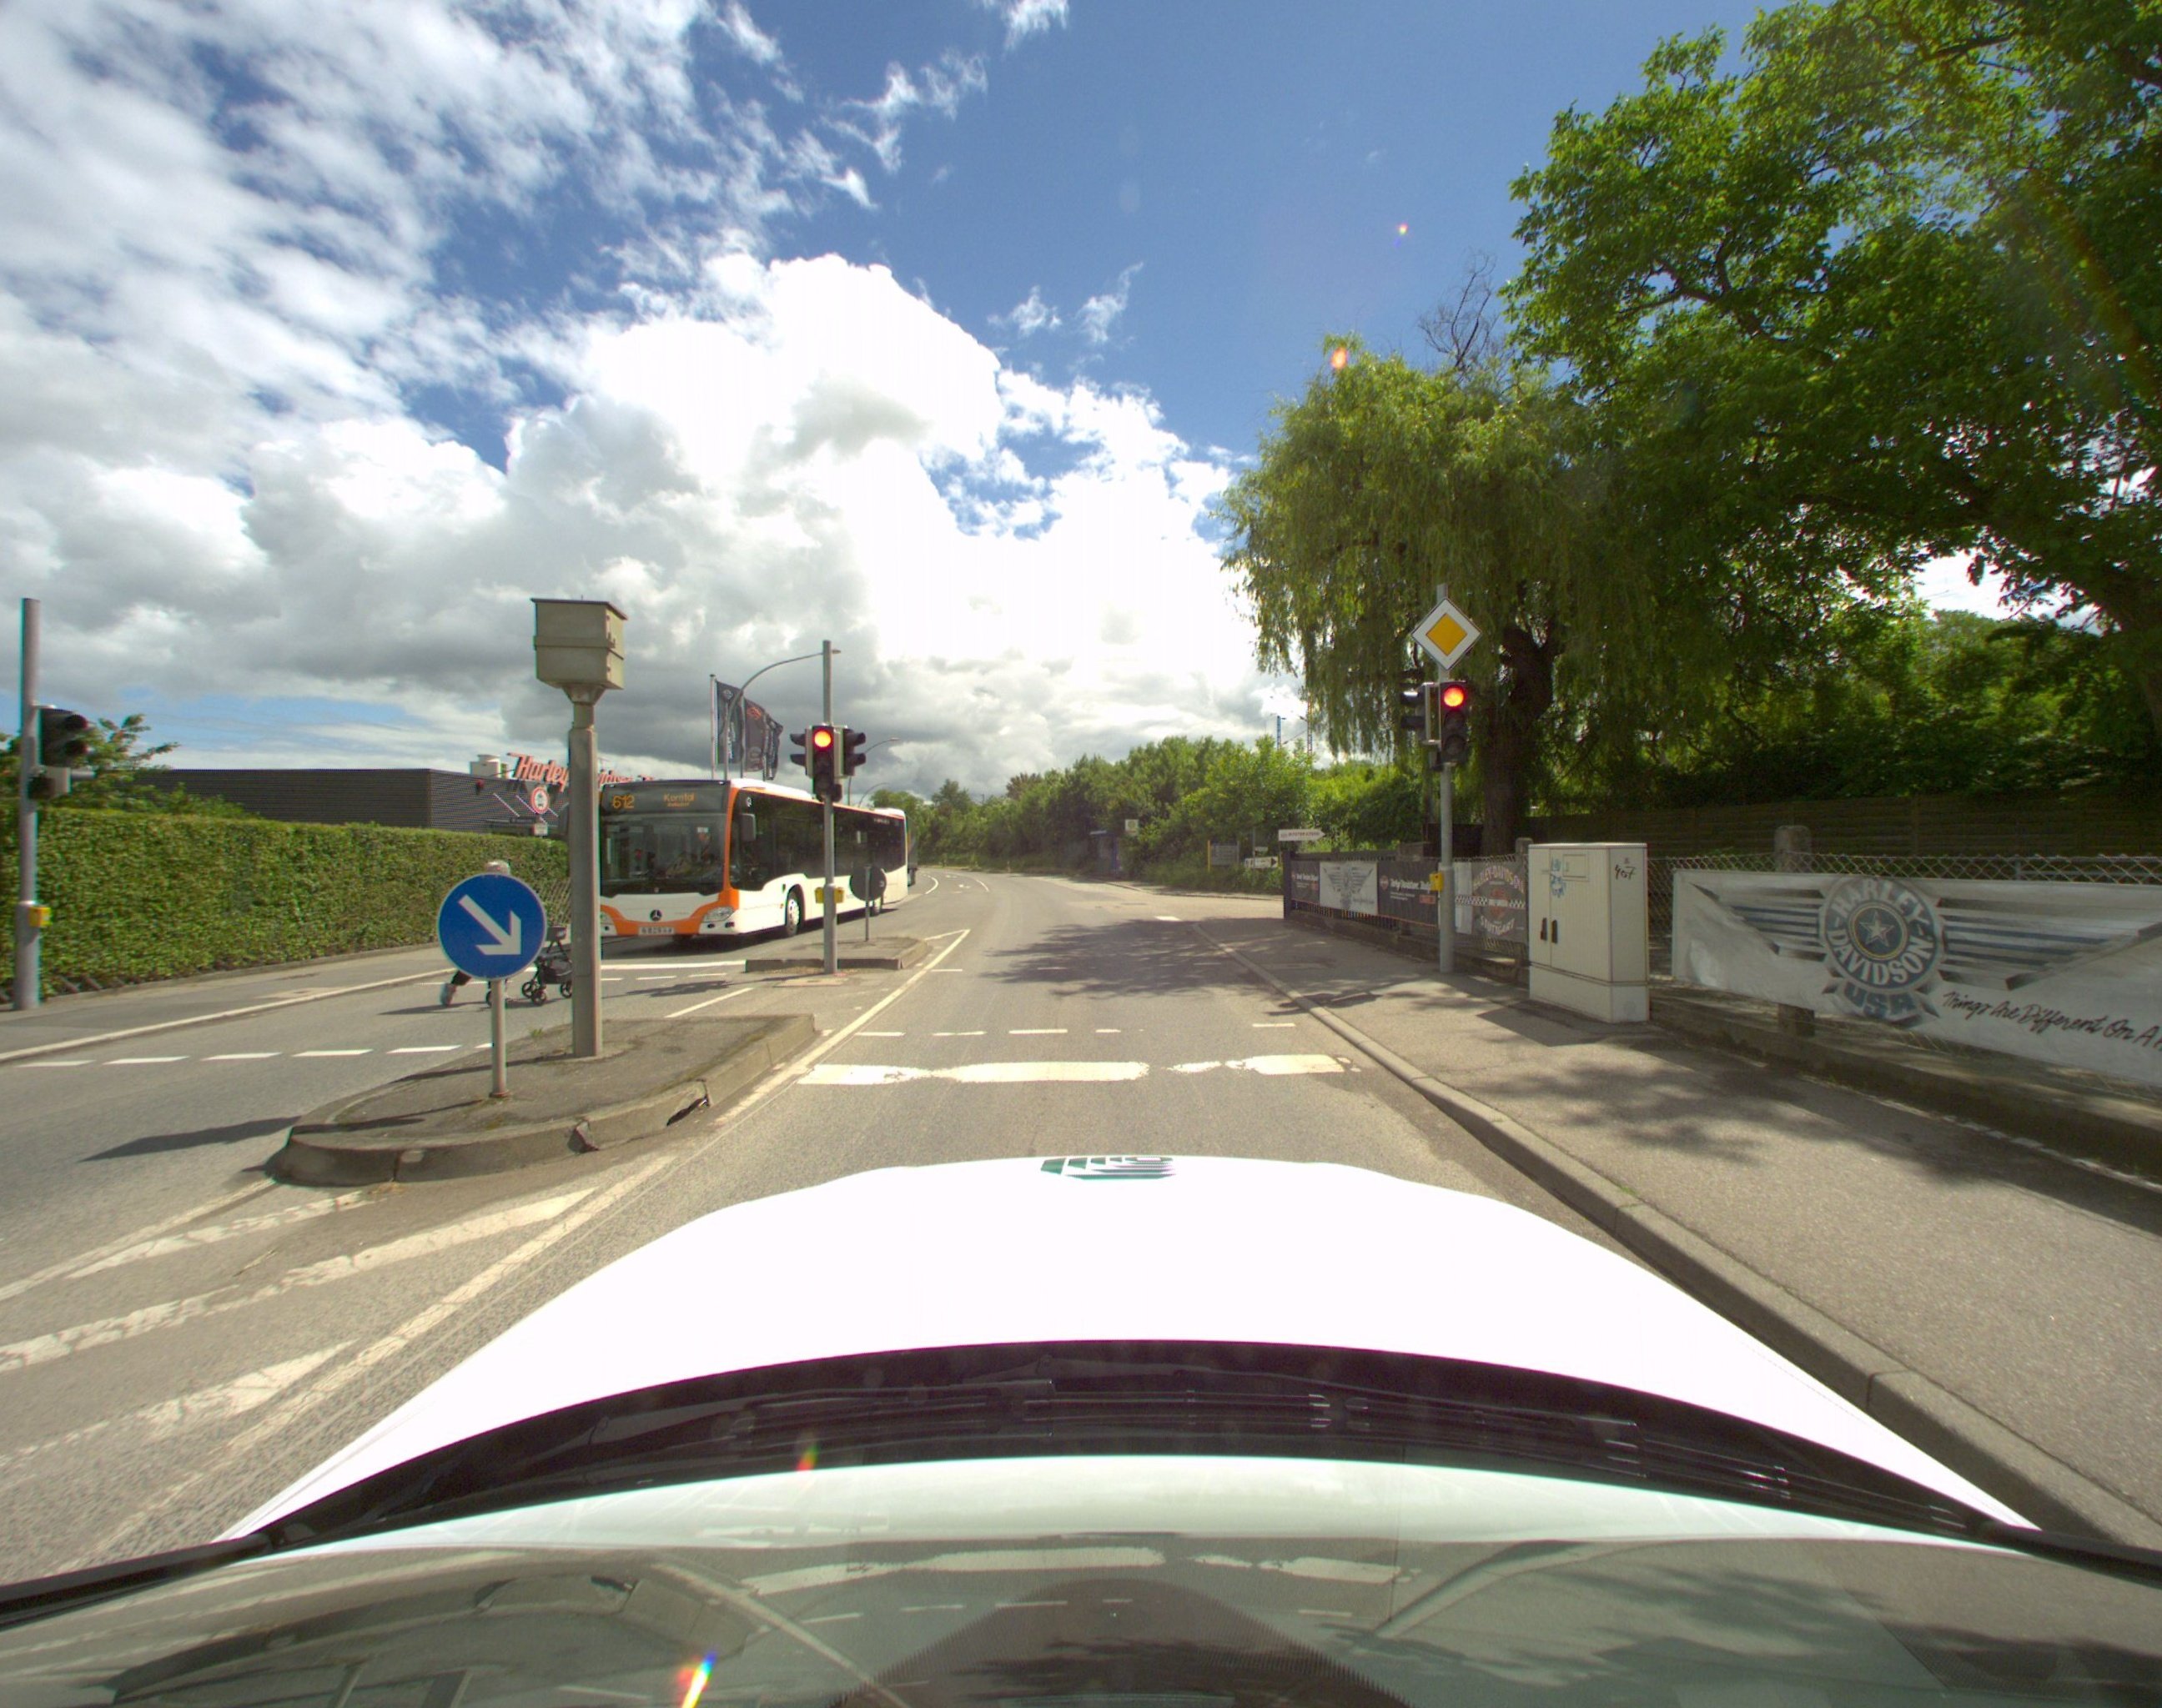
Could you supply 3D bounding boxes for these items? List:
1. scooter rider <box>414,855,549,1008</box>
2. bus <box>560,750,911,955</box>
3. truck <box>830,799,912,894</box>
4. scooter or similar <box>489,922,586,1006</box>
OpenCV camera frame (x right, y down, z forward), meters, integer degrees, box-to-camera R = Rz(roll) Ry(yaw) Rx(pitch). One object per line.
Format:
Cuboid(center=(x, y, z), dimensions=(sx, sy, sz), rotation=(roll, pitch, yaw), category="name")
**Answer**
Cuboid(center=(-6.535, 0.811, 8.924), dimensions=(0.875, 1.589, 0.796), rotation=(-1, 0, 0), category="scooter rider")
Cuboid(center=(-6.928, 0.007, 19.384), dimensions=(2.767, 3.266, 12.127), rotation=(-2, 0, 2), category="bus")
Cuboid(center=(-10.226, -0.294, 40.596), dimensions=(2.425, 4.131, 9.132), rotation=(1, -1, -6), category="truck")
Cuboid(center=(-5.942, 1.187, 8.932), dimensions=(0.609, 0.831, 0.659), rotation=(0, 0, 0), category="scooter or similar")
